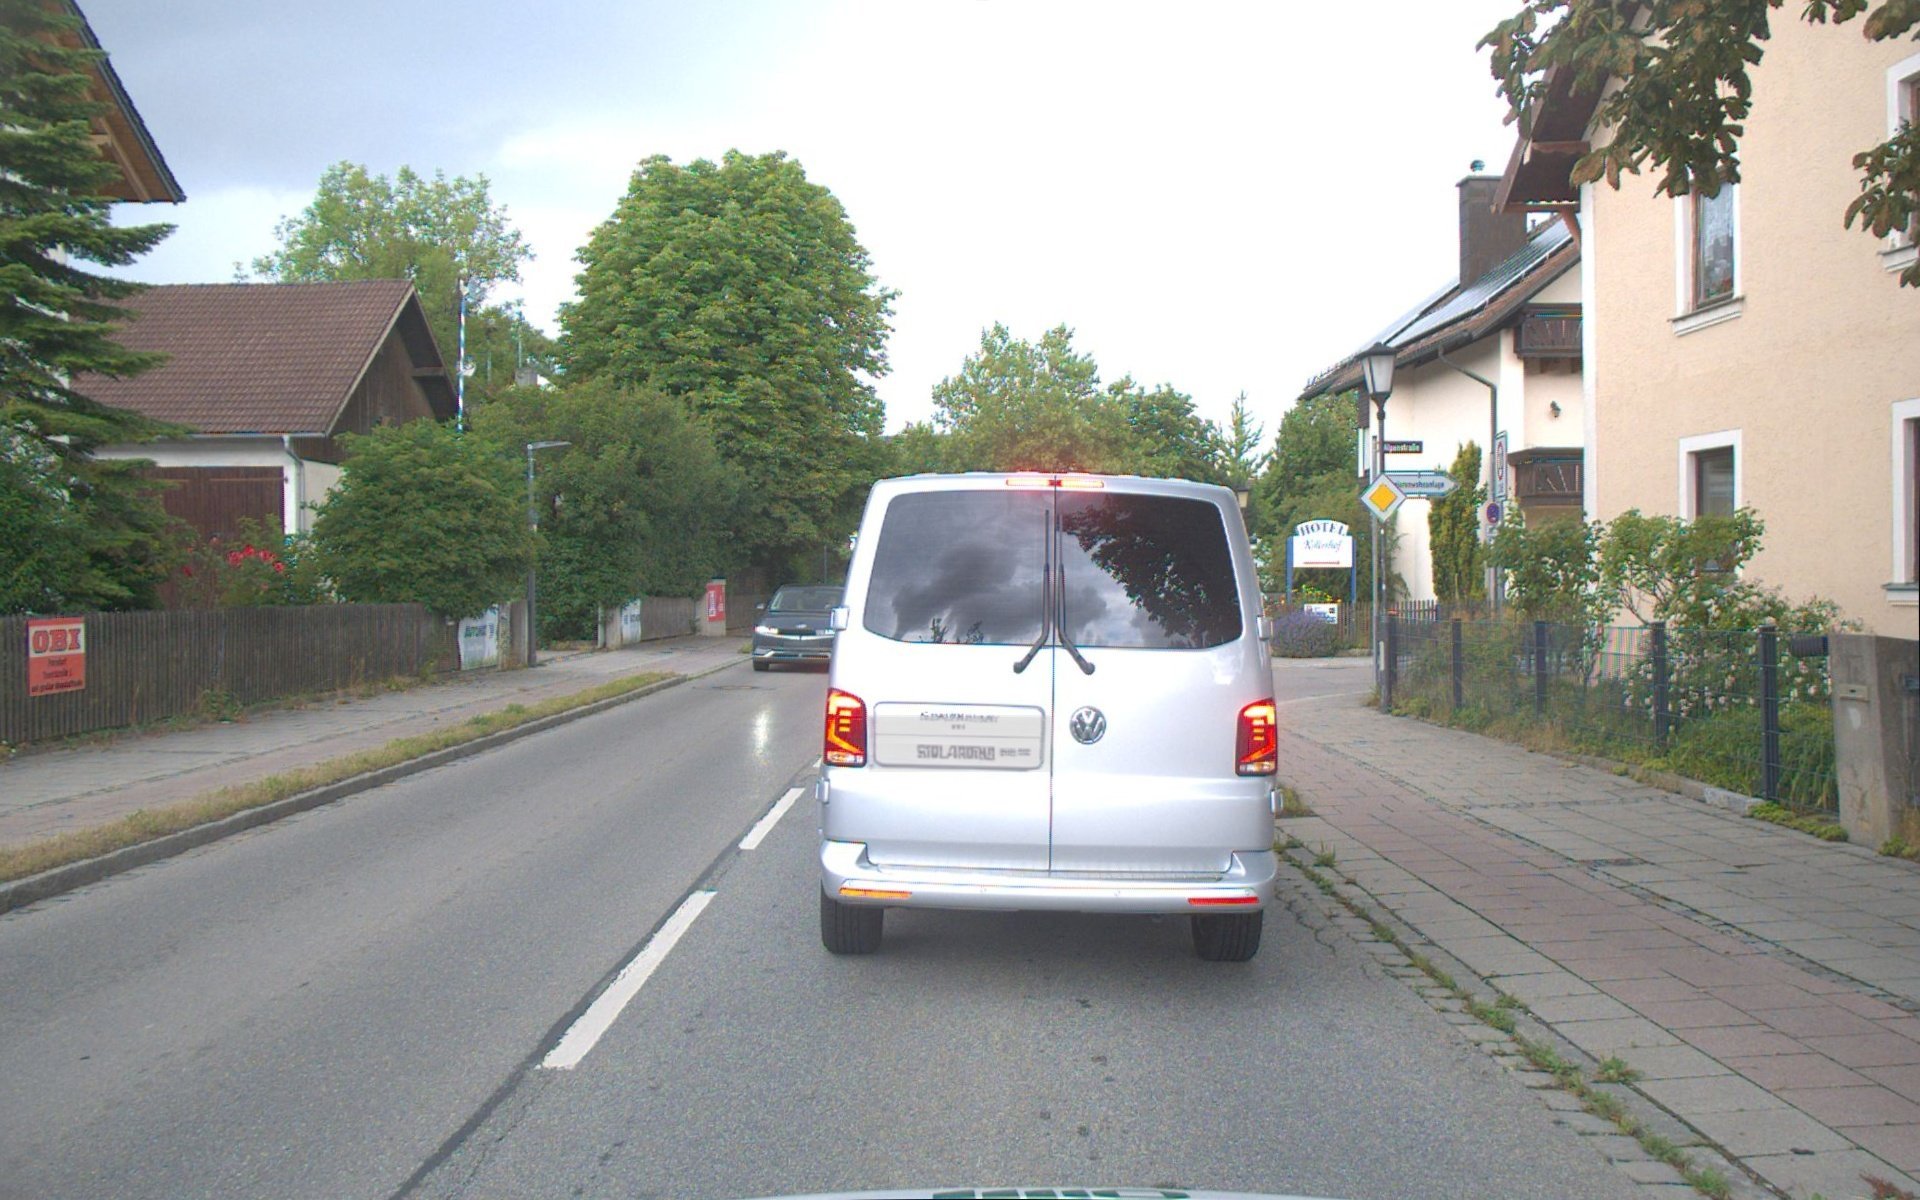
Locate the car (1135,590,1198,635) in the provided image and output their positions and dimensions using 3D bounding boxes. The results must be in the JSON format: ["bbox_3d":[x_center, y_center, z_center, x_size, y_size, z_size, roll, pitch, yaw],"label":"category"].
[{"bbox_3d":[7.486,0.415,59.673,1.841,1.562,3.924,0,0,13],"label":"car"}]

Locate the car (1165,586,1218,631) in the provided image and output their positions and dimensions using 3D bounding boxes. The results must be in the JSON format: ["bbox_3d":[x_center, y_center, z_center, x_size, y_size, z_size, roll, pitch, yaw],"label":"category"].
[{"bbox_3d":[9.379,0.330,66.789,1.841,1.779,4.084,0,0,12],"label":"car"}]

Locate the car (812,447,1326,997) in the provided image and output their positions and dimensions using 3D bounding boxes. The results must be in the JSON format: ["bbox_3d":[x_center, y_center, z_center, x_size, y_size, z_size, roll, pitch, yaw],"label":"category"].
[{"bbox_3d":[0.407,0.428,7.924,1.842,1.974,3.921,0,0,0],"label":"car"}]

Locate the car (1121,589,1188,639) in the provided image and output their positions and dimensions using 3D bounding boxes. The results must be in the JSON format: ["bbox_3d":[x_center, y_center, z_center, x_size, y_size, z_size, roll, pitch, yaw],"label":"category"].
[{"bbox_3d":[6.356,0.421,53.865,1.841,1.562,3.924,0,0,11],"label":"car"}]

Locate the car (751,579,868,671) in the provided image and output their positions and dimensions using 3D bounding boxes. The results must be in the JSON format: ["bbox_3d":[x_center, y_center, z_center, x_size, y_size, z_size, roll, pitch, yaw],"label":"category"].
[{"bbox_3d":[-2.788,0.439,31.549,1.891,1.602,4.311,1,0,-1],"label":"car"}]

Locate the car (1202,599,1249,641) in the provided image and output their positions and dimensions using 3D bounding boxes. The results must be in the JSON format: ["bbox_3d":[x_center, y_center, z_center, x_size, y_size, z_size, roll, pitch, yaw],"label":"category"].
[{"bbox_3d":[12.111,0.877,75.334,1.841,1.857,3.924,0,0,13],"label":"car"}]
